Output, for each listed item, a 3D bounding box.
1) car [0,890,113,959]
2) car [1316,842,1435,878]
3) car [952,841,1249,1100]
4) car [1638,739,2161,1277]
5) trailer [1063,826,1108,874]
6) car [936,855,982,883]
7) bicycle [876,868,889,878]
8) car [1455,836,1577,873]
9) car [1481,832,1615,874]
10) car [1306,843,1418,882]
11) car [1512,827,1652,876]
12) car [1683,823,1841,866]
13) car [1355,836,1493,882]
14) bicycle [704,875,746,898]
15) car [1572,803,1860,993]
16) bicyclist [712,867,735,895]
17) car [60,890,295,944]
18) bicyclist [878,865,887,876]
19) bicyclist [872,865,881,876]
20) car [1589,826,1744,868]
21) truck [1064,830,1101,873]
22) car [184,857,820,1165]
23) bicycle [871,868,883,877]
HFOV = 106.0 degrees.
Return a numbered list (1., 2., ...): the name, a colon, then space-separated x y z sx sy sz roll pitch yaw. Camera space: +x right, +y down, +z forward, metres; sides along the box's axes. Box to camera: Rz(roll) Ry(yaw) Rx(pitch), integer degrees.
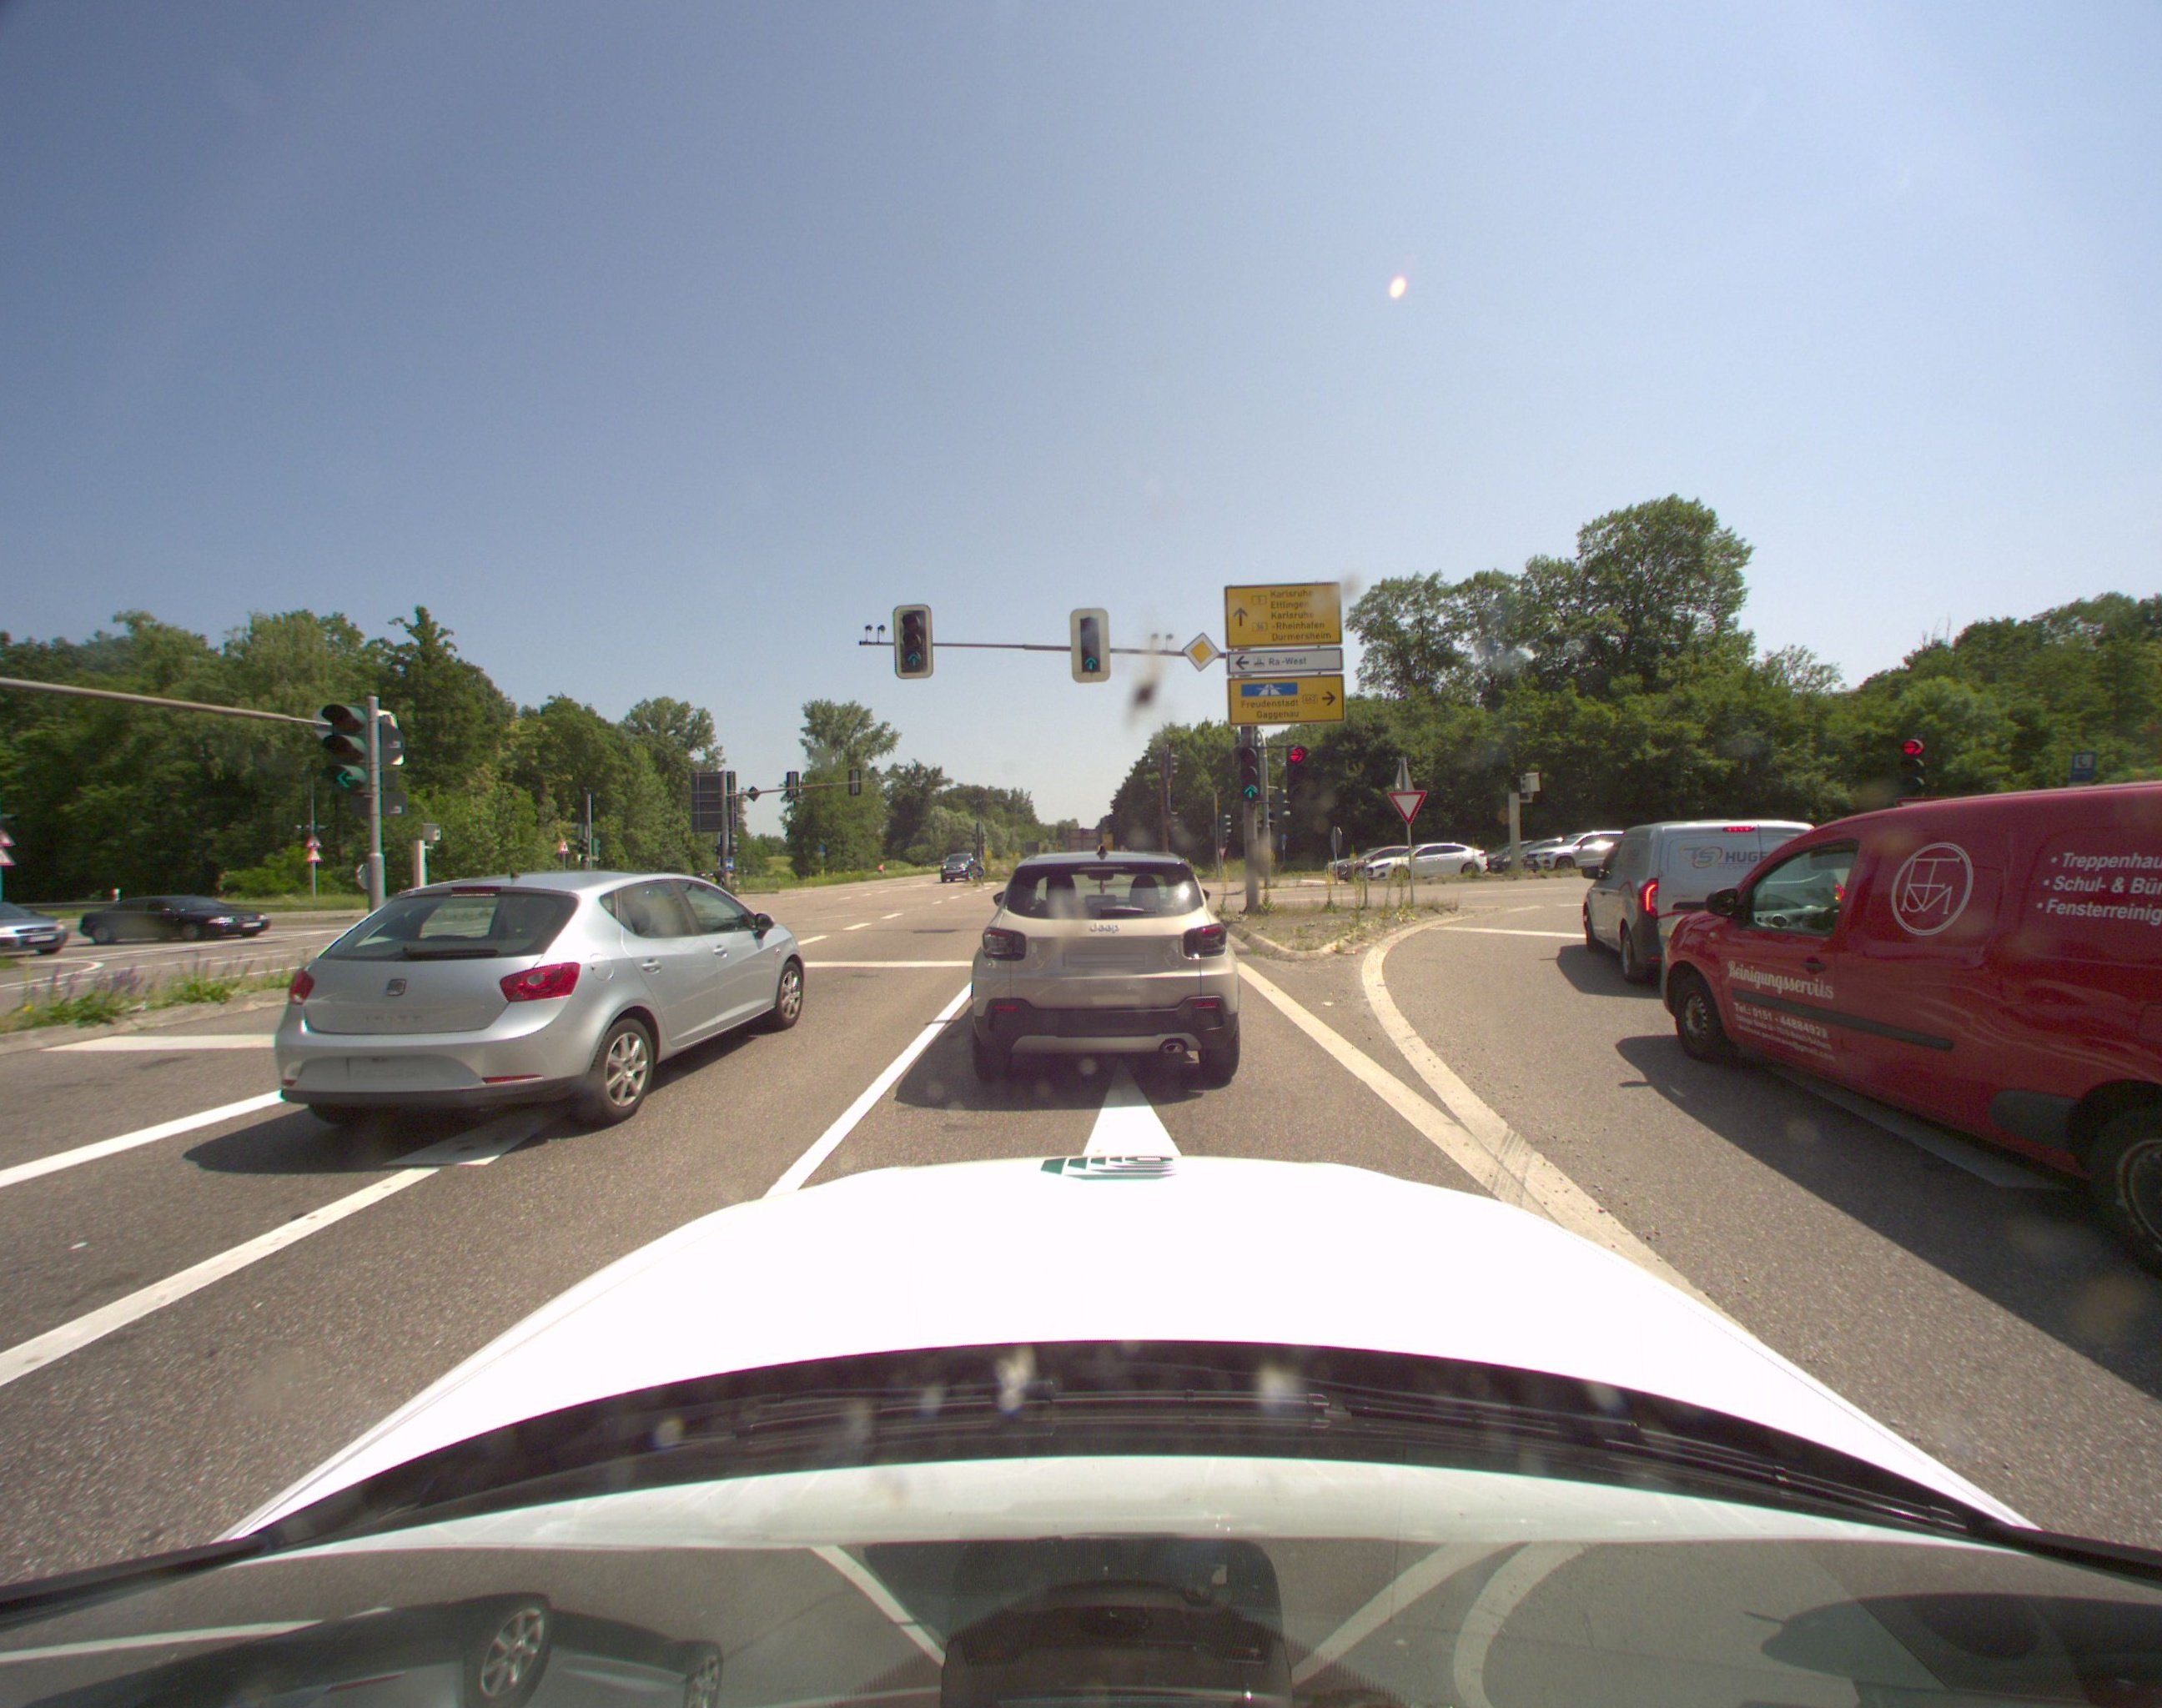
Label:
1. car: -28.565 1.863 20.913 4.788 1.567 2.130 -2 0 0
2. car: 13.890 0.307 38.650 4.913 1.498 2.021 -2 -1 1
3. car: 0.180 0.707 6.915 1.761 1.535 4.002 -1 0 2
4. car: 4.859 0.505 4.121 1.780 1.822 4.511 -1 0 12
5. trailer: 0.291 -0.301 73.263 3.375 3.989 10.791 0 -1 -3
6. car: -7.989 0.939 53.760 1.986 1.678 5.367 -3 0 2
7. bicycle: -22.059 2.139 90.725 0.672 1.005 1.806 -3 0 11
8. car: 20.331 0.020 38.209 4.600 1.498 2.112 -2 -1 1
9. car: 19.695 -0.017 34.506 4.404 1.535 2.122 -2 -1 0
10. car: 12.034 0.348 35.076 4.080 1.447 1.994 -2 0 -1
11. car: 19.256 -0.107 31.443 4.157 1.659 2.000 -2 0 1
12. car: 26.042 -0.338 31.256 4.315 1.414 1.974 -3 -1 1
13. car: 13.078 0.191 31.216 4.406 1.535 1.999 -2 0 -1
14. bicycle: -18.579 1.686 42.532 0.715 1.063 1.881 -2 0 38
15. car: 7.273 0.406 9.841 1.740 1.773 4.136 -2 0 24
16. bicyclist: -18.642 1.410 42.503 0.914 1.459 0.721 -2 0 38
17. car: -27.324 1.882 24.759 4.788 1.290 2.106 -2 0 1
18. bicyclist: -22.086 1.857 90.735 0.752 1.195 0.594 -3 0 11
19. bicyclist: -23.342 1.861 92.936 0.730 1.195 0.594 -3 -1 12
20. car: 25.198 -0.281 35.175 5.111 1.533 2.138 -3 -1 1
21. truck: 0.079 -0.239 78.772 3.325 3.989 6.526 0 -1 -3
22. car: -3.346 0.749 5.751 1.659 1.430 3.830 0 0 2
23. bicycle: -23.296 2.123 93.015 0.600 1.006 1.560 -3 -1 12
